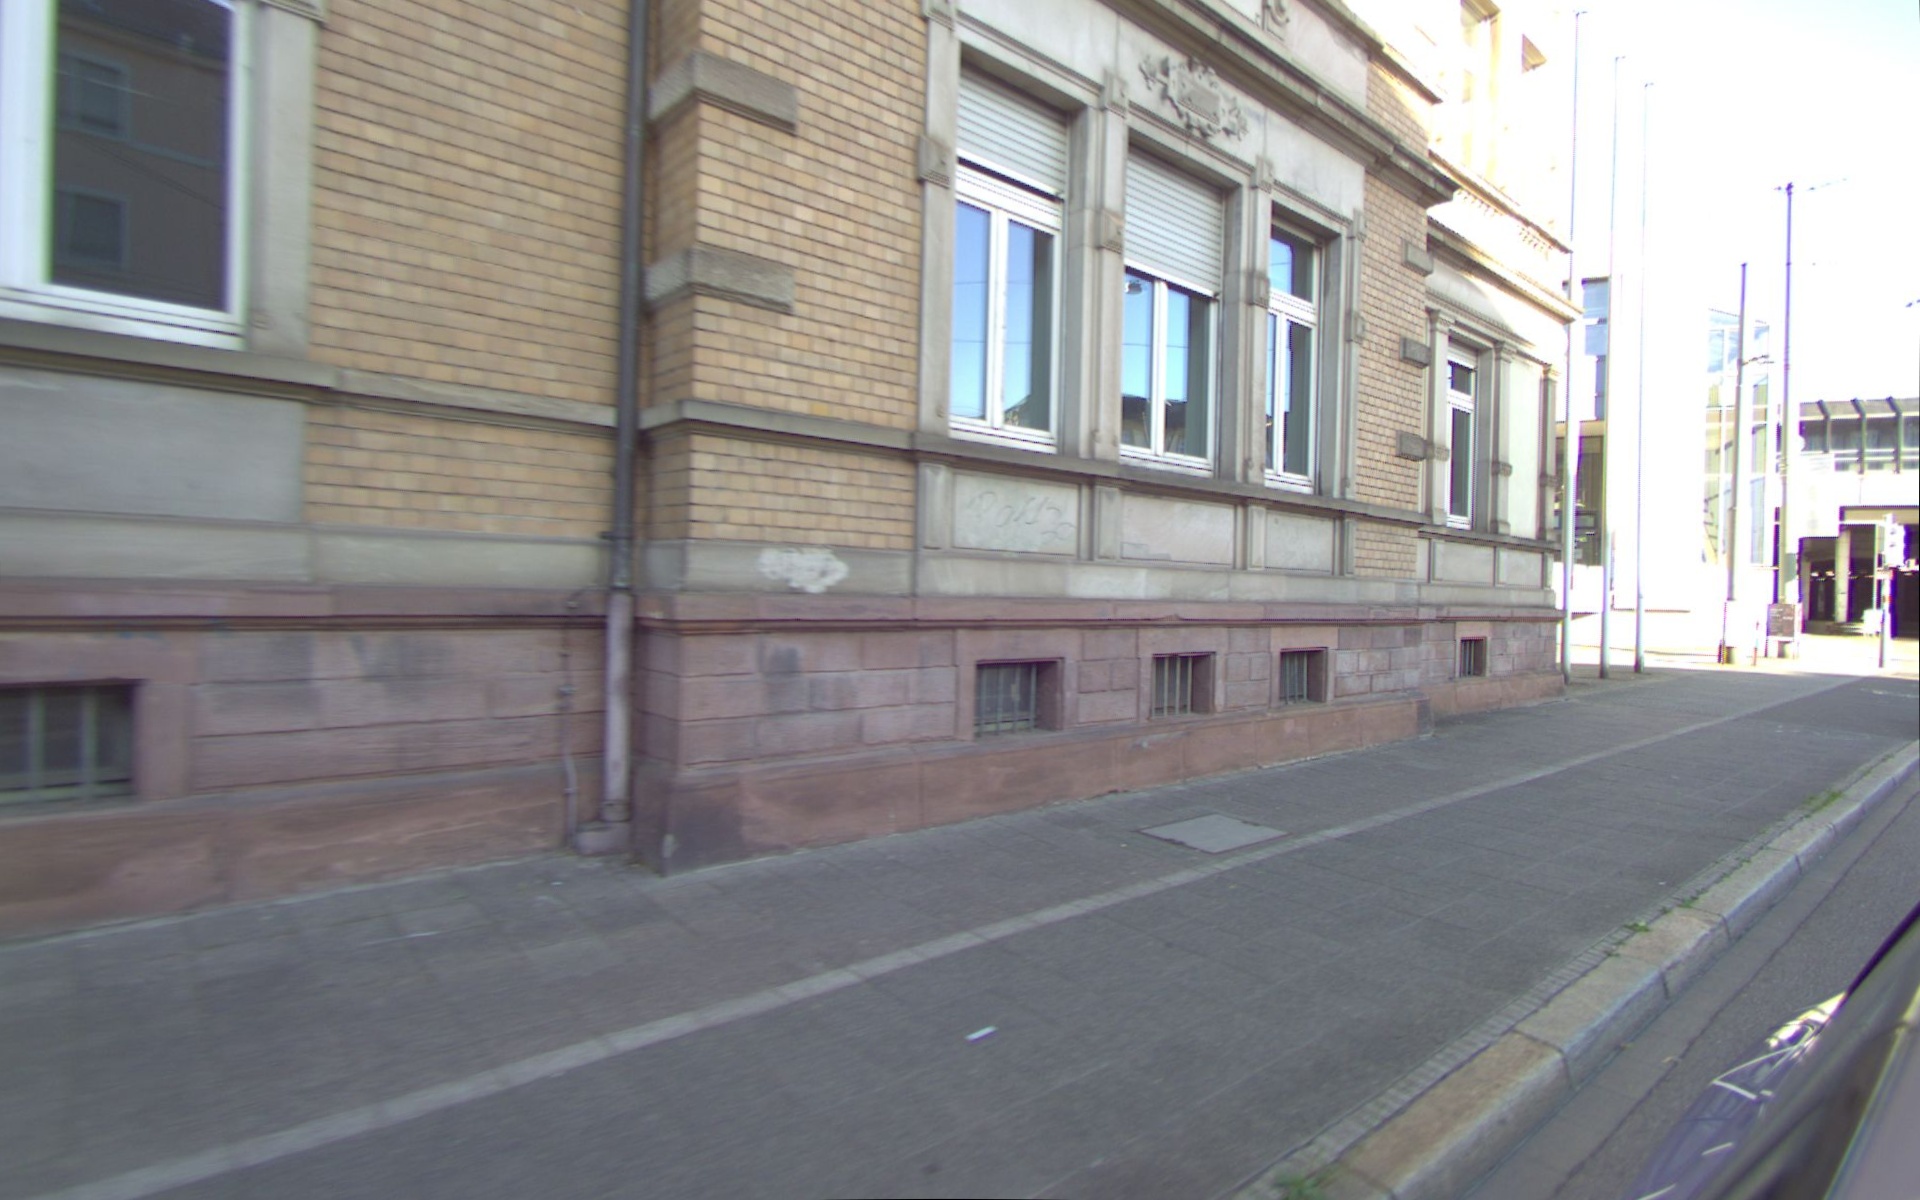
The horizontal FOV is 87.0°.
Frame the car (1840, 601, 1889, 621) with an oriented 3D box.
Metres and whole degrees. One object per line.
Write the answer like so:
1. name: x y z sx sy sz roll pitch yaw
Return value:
1. car: 68.922 0.833 77.165 1.799 1.408 4.206 1 0 27
